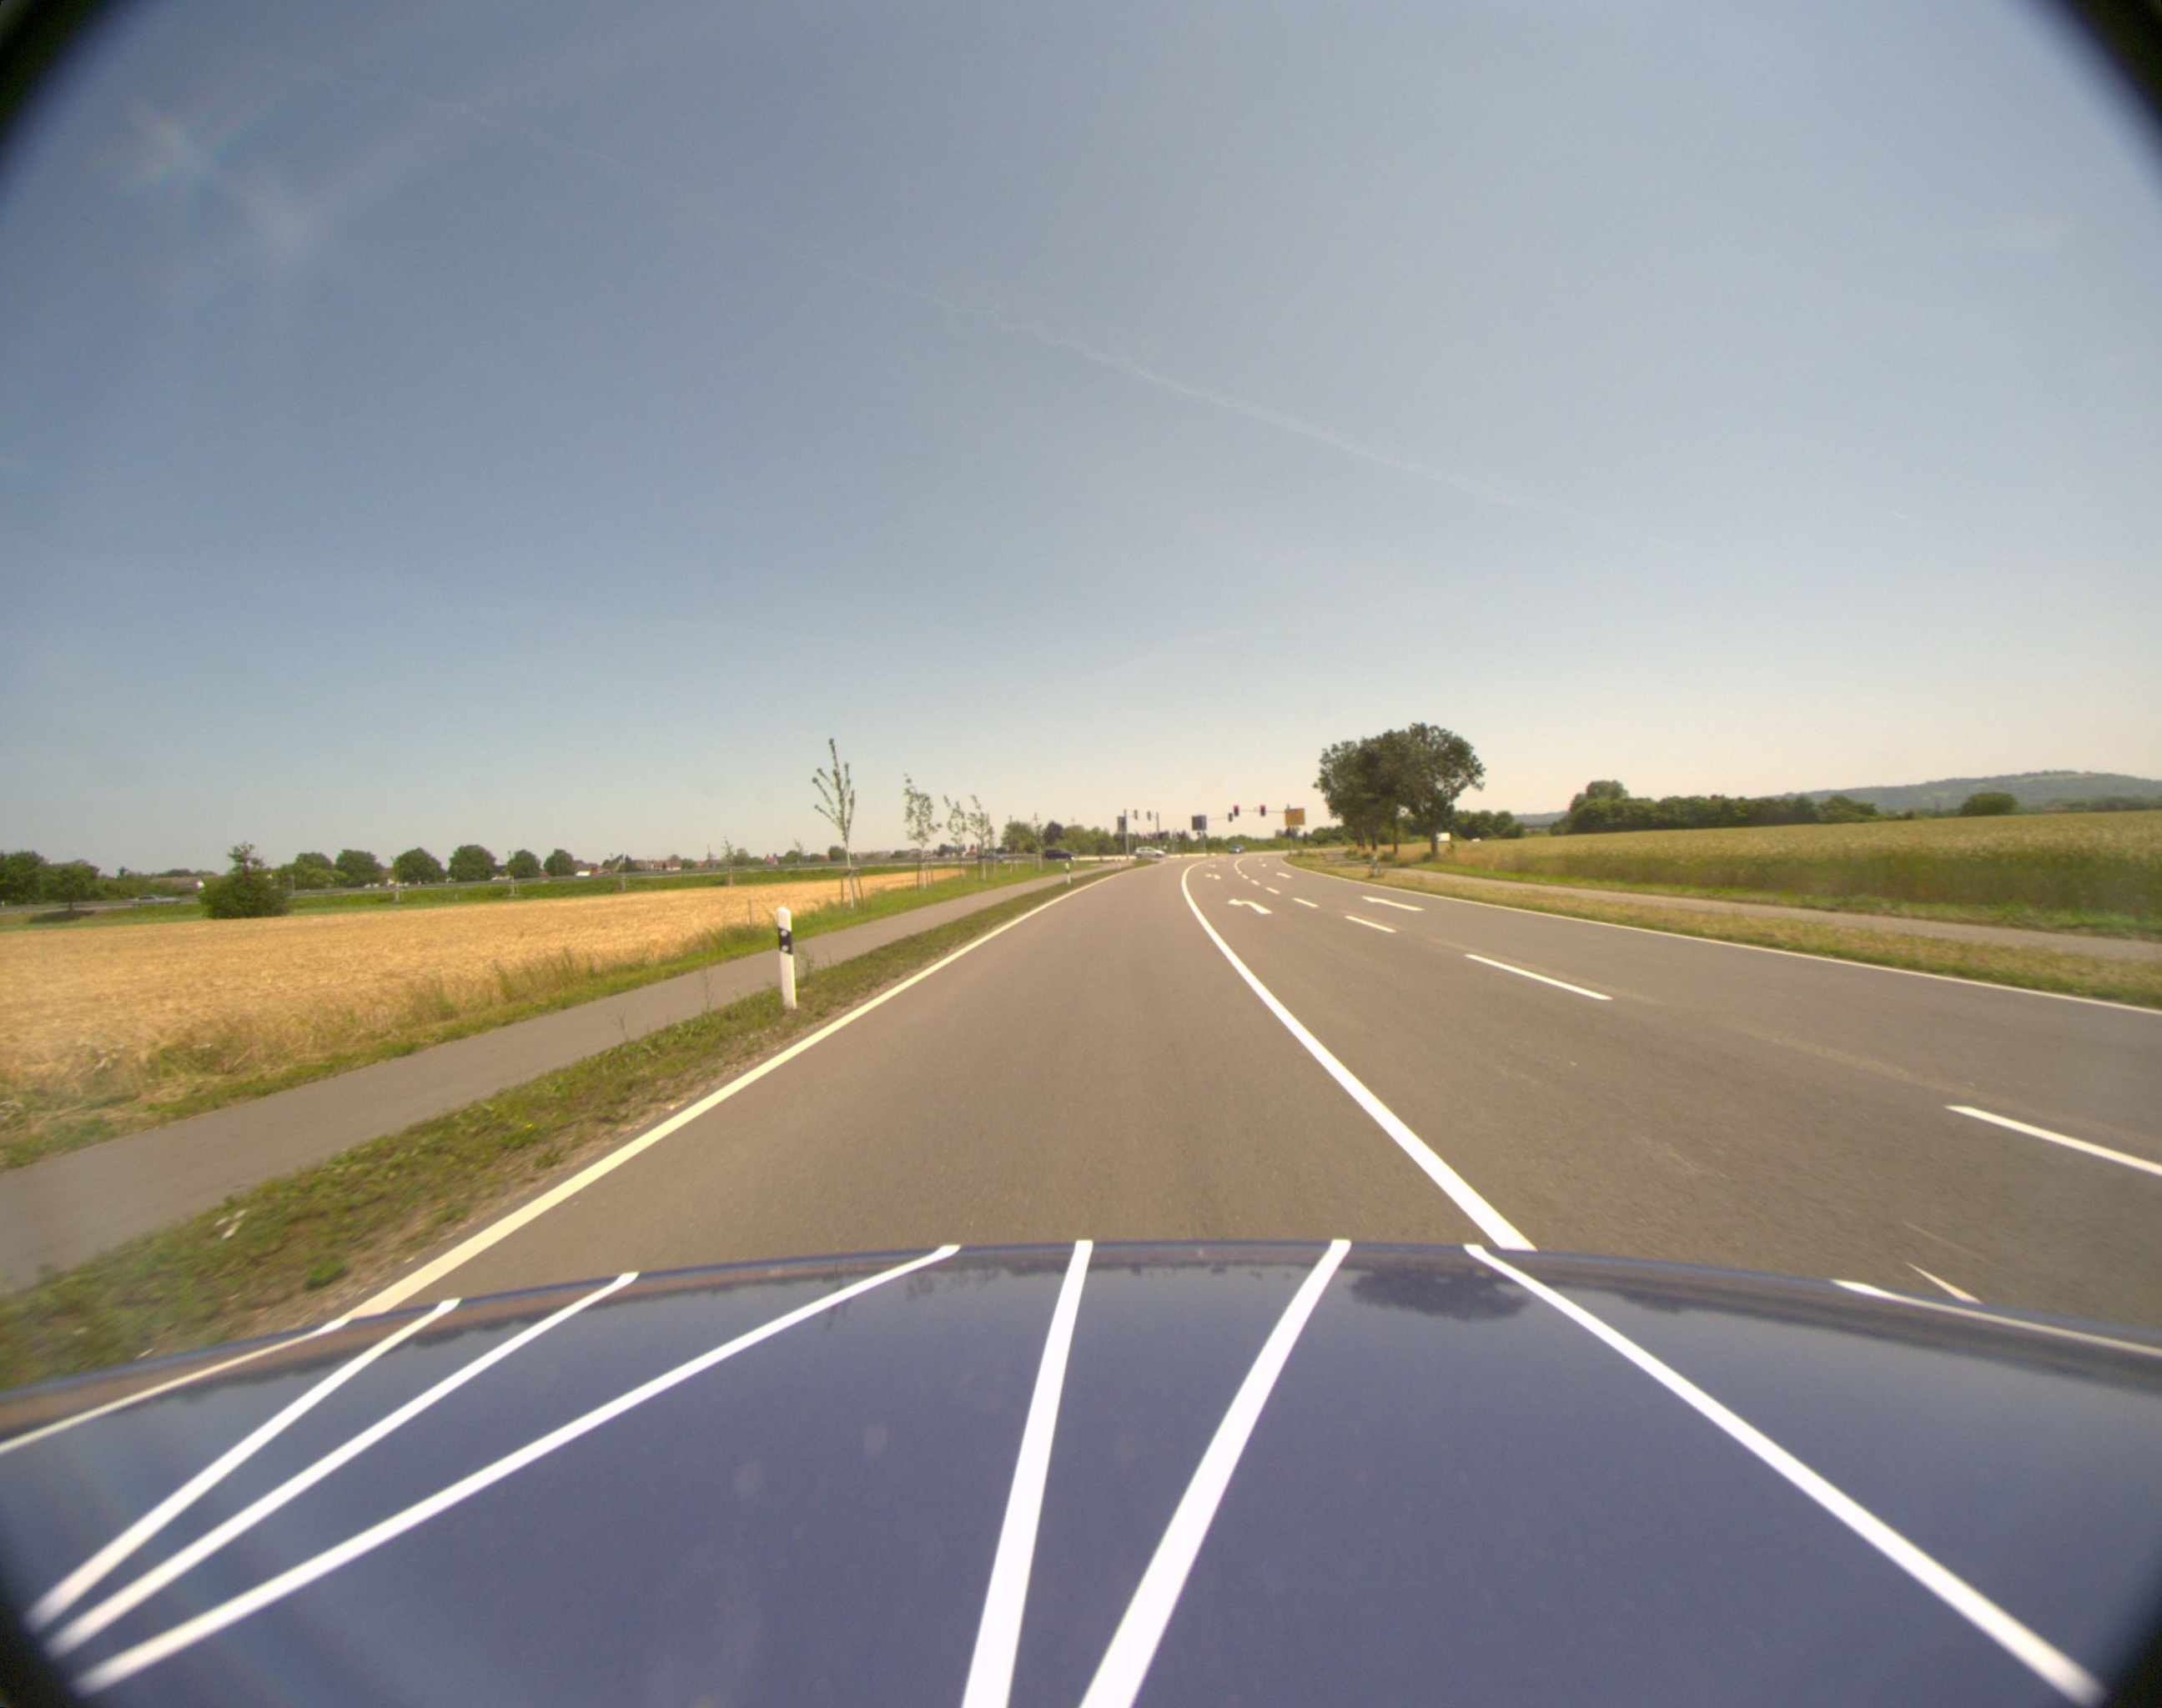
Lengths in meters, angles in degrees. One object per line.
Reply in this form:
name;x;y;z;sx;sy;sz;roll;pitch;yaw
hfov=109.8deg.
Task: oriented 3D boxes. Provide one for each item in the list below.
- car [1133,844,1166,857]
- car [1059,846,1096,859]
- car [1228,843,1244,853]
car;9.011;-0.431;99.438;4.146;1.451;1.662;-2;1;10
car;-0.467;-0.230;101.973;4.518;1.631;1.816;-1;2;16
car;25.031;-0.952;122.484;1.654;1.557;4.006;-1;1;24
